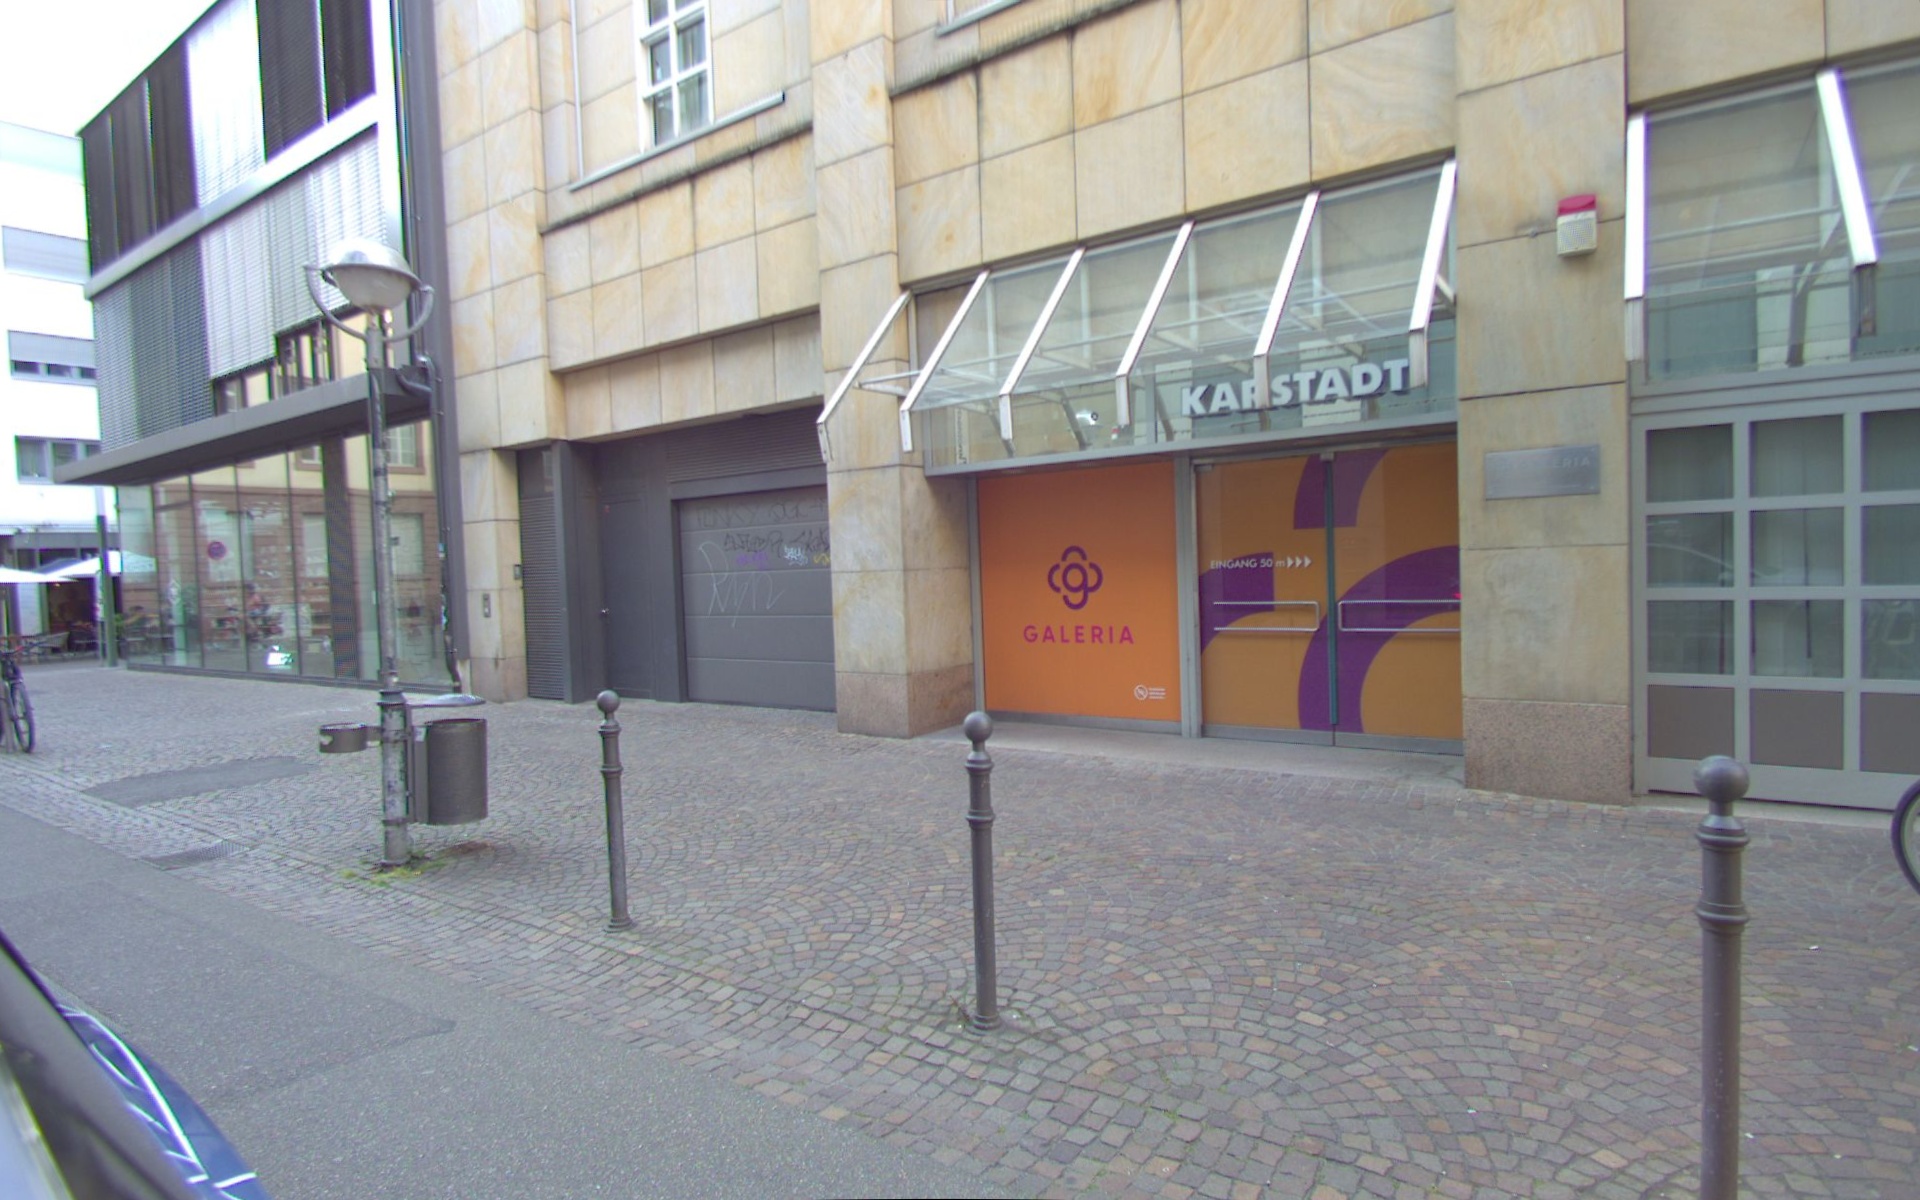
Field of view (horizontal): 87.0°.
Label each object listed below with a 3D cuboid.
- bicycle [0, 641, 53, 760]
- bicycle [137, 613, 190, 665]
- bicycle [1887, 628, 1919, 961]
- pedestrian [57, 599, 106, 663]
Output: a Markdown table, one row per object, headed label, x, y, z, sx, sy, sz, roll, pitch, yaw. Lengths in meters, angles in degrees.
| label | x | y | z | sx | sy | sz | roll | pitch | yaw |
| --- | --- | --- | --- | --- | --- | --- | --- | --- | --- |
| bicycle | -10.252 | 1.025 | 10.710 | 1.924 | 1.141 | 0.407 | -1 | 2 | 32 |
| bicycle | -18.792 | 0.927 | 23.854 | 1.699 | 1.145 | 0.461 | -4 | 0 | 35 |
| bicycle | 4.106 | 0.675 | 3.107 | 0.685 | 1.120 | 1.779 | -3 | 1 | -40 |
| pedestrian | -23.809 | 0.835 | 27.440 | 0.789 | 1.661 | 0.718 | -2 | 1 | 30 |
